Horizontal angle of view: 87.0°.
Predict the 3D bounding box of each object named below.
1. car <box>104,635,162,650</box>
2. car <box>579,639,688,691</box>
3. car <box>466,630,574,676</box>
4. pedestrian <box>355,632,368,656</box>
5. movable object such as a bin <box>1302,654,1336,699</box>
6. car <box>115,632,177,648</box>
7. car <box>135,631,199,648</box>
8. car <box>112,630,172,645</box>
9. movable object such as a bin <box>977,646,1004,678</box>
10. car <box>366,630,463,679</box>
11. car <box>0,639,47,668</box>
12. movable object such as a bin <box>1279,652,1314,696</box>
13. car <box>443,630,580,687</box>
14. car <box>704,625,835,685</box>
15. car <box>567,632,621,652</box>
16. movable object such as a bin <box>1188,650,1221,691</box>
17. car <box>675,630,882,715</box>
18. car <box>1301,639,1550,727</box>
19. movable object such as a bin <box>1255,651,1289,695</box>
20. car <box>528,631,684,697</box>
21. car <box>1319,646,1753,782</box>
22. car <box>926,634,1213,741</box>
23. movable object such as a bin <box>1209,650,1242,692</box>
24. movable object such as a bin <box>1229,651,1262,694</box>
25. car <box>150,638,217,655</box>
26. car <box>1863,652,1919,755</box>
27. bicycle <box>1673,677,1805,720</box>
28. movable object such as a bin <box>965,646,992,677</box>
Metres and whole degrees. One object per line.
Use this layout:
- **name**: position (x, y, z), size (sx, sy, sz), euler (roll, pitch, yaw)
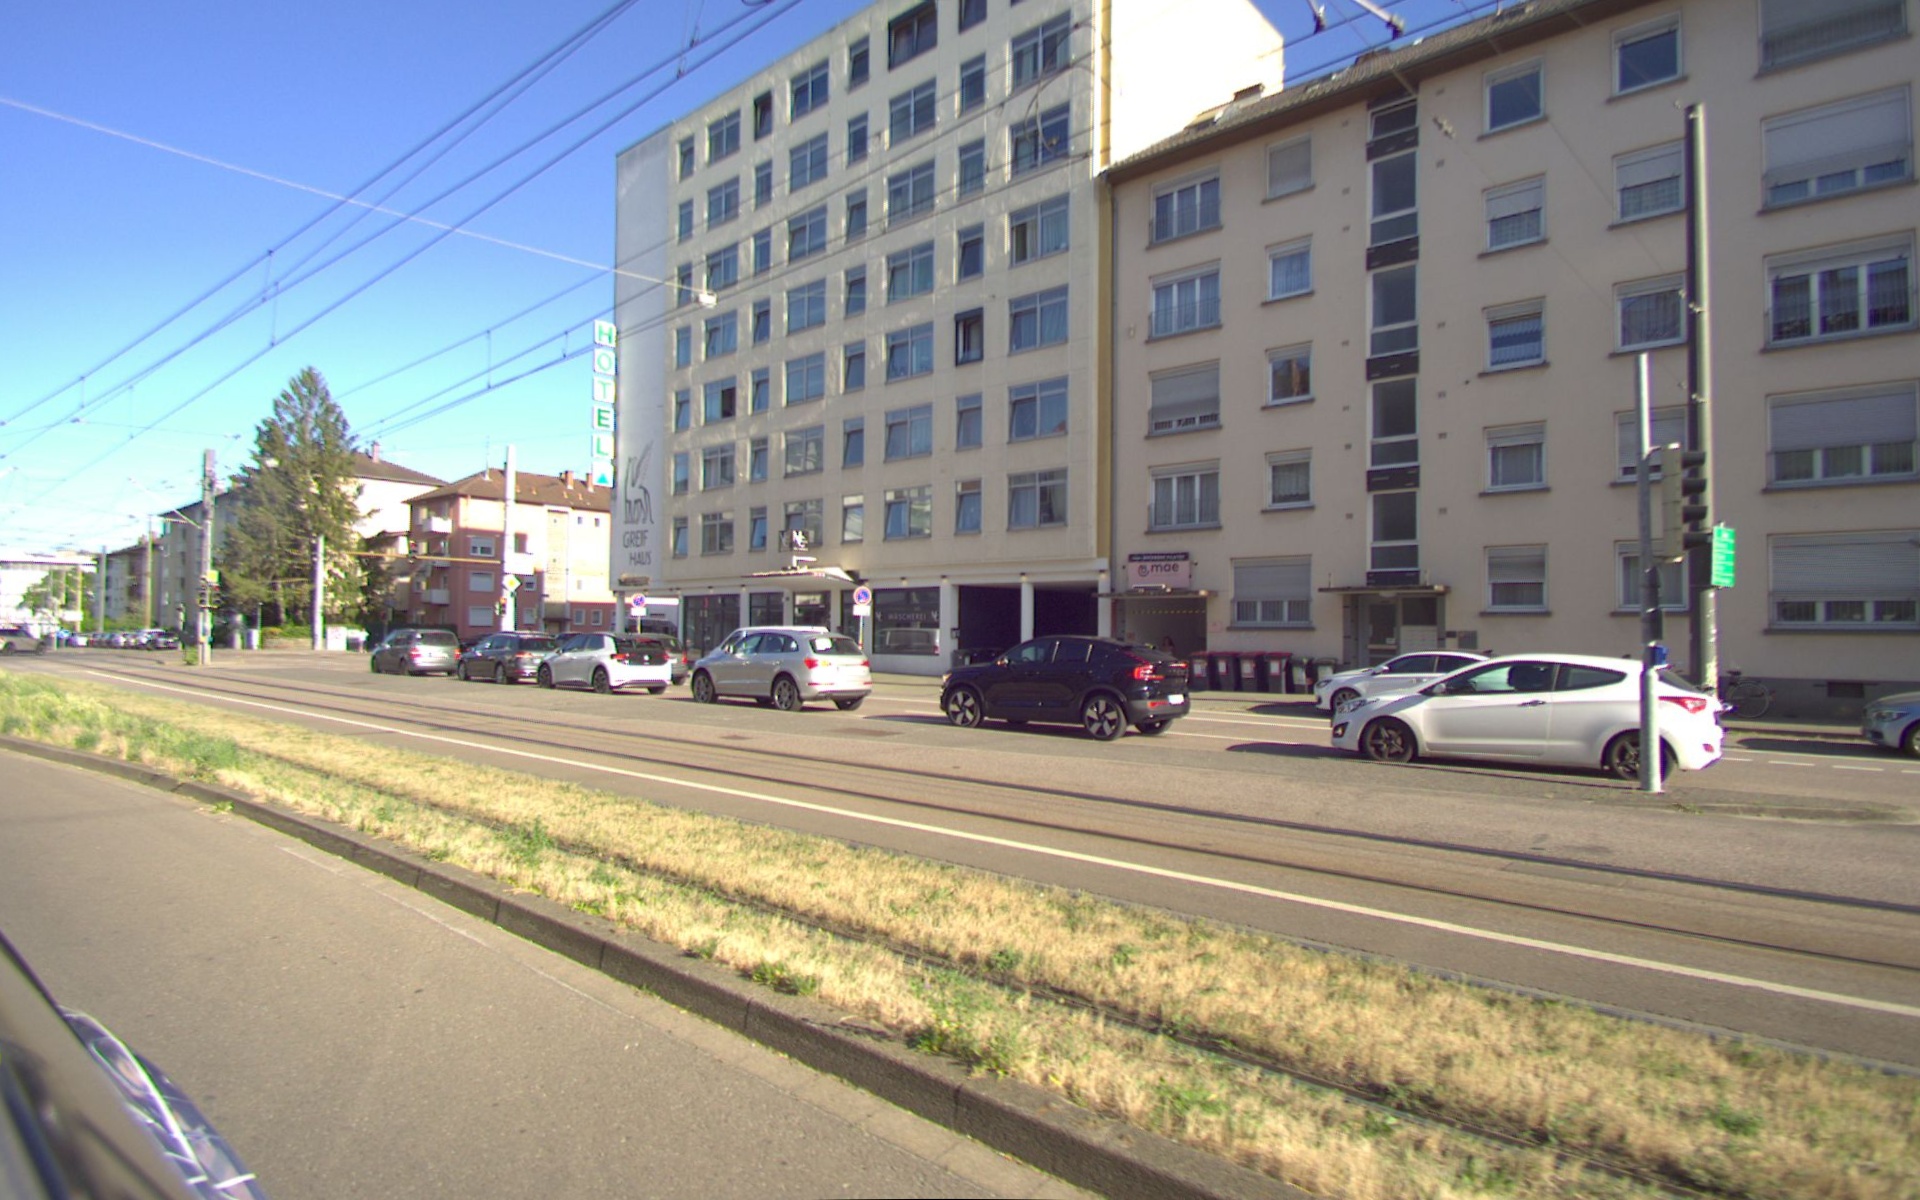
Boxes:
- **car**: position (-76.464, 3.940, 93.595), size (1.737, 1.342, 3.945), euler (-2, -4, 41)
- **car**: position (-10.233, 2.015, 31.646), size (3.569, 1.512, 1.551), euler (-2, -5, 40)
- **car**: position (-15.877, 1.896, 36.440), size (3.996, 1.571, 1.973), euler (-2, -3, 40)
- **pedestrian**: position (-41.234, 3.040, 69.695), size (0.510, 1.618, 0.607), euler (-2, -1, 39)
- **movable object such as a bin**: position (8.913, 1.885, 25.121), size (0.546, 1.059, 0.764), euler (-2, -1, 41)
- **car**: position (-70.531, 3.473, 87.720), size (1.737, 1.342, 3.945), euler (-2, -4, 41)
- **car**: position (-66.117, 3.280, 84.409), size (1.737, 1.342, 3.945), euler (-2, -4, 41)
- **car**: position (-73.544, 3.385, 91.022), size (1.737, 1.342, 3.945), euler (-2, -4, 41)
- **movable object such as a bin**: position (1.048, 2.132, 34.889), size (0.775, 1.059, 0.538), euler (-2, -4, 44)
- **car**: position (-18.821, 1.859, 34.837), size (3.998, 1.571, 1.596), euler (-2, -5, 41)
- **car**: position (-50.049, 2.798, 53.010), size (1.694, 1.397, 3.723), euler (-1, 0, -13)
- **movable object such as a bin**: position (8.484, 1.851, 25.506), size (0.546, 1.059, 0.764), euler (-2, -1, 41)
- **car**: position (-13.472, 1.733, 30.338), size (4.363, 1.562, 1.973), euler (-2, -5, 40)
- **car**: position (-6.699, 1.883, 35.382), size (4.666, 1.912, 1.973), euler (-2, -1, 40)
- **car**: position (-30.081, 3.456, 83.269), size (1.786, 1.453, 3.848), euler (-2, -1, 41)
- **movable object such as a bin**: position (6.584, 1.886, 27.221), size (0.546, 1.059, 0.764), euler (-2, -1, 41)
- **car**: position (-3.877, 1.462, 21.165), size (4.606, 1.593, 1.764), euler (-2, -4, 41)
- **car**: position (9.245, 1.569, 20.287), size (4.198, 1.497, 1.740), euler (-2, -1, 42)
- **movable object such as a bin**: position (8.009, 1.865, 25.939), size (0.546, 1.059, 0.764), euler (-2, -1, 41)
- **car**: position (-9.165, 1.631, 26.080), size (4.237, 1.562, 1.838), euler (-2, -5, 40)
- **car**: position (6.959, 1.288, 12.553), size (4.406, 1.395, 1.817), euler (-2, -4, 36)
- **car**: position (1.707, 1.353, 16.590), size (4.407, 1.540, 1.766), euler (-2, -4, 37)
- **movable object such as a bin**: position (7.027, 1.862, 26.802), size (0.546, 1.059, 0.764), euler (-2, -1, 41)
- **movable object such as a bin**: position (7.461, 1.871, 26.425), size (0.546, 1.059, 0.764), euler (-2, -1, 41)
- **car**: position (-61.800, 3.706, 80.552), size (1.737, 1.342, 3.945), euler (-2, -4, 41)
- **car**: position (15.777, 1.499, 14.286), size (4.411, 1.395, 1.765), euler (-2, -1, 40)
- **bicycle**: position (15.132, 1.892, 19.704), size (1.995, 0.698, 0.595), euler (-2, -1, 42)
- **movable object such as a bin**: position (0.631, 2.094, 34.492), size (0.775, 1.059, 0.538), euler (-2, -4, 44)
